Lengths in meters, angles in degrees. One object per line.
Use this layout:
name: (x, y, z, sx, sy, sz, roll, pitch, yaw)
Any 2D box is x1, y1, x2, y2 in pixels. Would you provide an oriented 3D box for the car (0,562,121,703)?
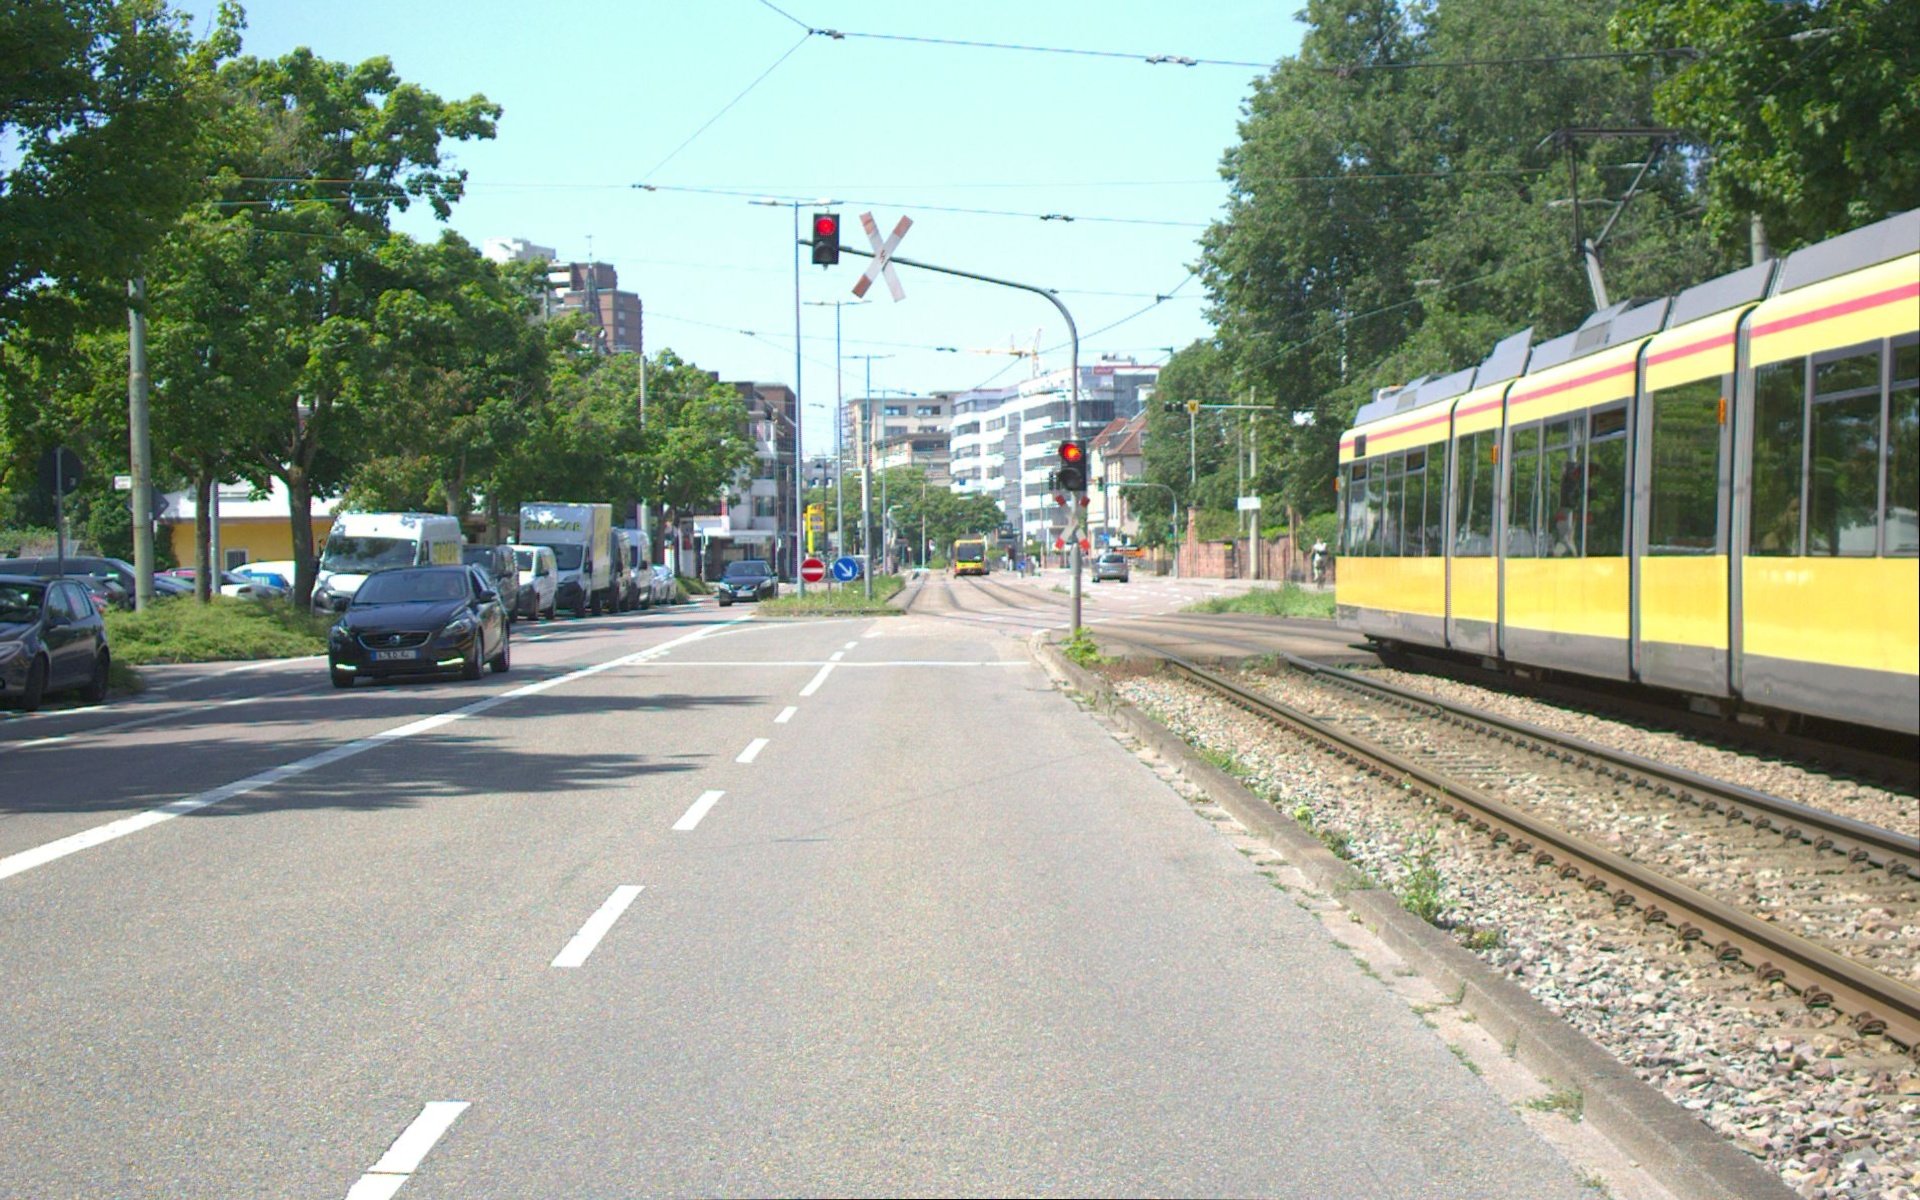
car: (-10.907, 0.322, 39.028, 1.774, 1.476, 4.048, 1, 1, 0)

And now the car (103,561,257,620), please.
car: (-22.291, -0.282, 98.294, 3.987, 1.601, 1.805, -1, 1, -1)

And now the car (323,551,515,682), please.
car: (-6.581, 0.163, 42.206, 1.774, 1.455, 4.195, -2, 1, -2)

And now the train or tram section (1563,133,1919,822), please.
train or tram section: (6.584, -0.669, 19.515, 2.943, 3.679, 18.390, 0, 1, 0)

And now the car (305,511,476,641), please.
car: (-11.340, -0.509, 68.905, 2.157, 2.478, 6.192, -1, 1, 2)

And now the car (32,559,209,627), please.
car: (-21.002, -0.181, 86.072, 3.987, 1.601, 1.805, -1, 1, -1)

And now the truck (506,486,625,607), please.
truck: (-11.064, -1.522, 96.994, 2.157, 3.199, 7.082, 2, 1, 2)

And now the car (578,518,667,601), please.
car: (-10.984, -1.336, 112.222, 2.157, 2.630, 5.611, 1, 1, 2)

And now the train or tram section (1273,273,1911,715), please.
train or tram section: (6.212, -1.073, 38.904, 2.943, 3.679, 20.285, 0, 1, -2)

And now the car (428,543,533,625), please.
car: (-11.459, -0.411, 82.364, 1.868, 1.888, 4.271, -1, 1, 0)

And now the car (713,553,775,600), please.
car: (-6.922, -0.770, 110.554, 1.678, 1.393, 4.006, -3, 1, 0)

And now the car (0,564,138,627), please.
car: (-21.960, -0.105, 82.611, 3.987, 1.437, 1.805, -1, 1, -1)

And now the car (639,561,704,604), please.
car: (-11.166, -0.686, 133.268, 2.061, 1.576, 4.871, -1, 1, 0)

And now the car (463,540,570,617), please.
car: (-11.374, -0.575, 88.547, 2.061, 1.891, 4.871, -1, 1, 0)

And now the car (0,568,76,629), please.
car: (-22.343, -0.018, 78.185, 3.987, 1.334, 1.805, -1, 1, -1)
